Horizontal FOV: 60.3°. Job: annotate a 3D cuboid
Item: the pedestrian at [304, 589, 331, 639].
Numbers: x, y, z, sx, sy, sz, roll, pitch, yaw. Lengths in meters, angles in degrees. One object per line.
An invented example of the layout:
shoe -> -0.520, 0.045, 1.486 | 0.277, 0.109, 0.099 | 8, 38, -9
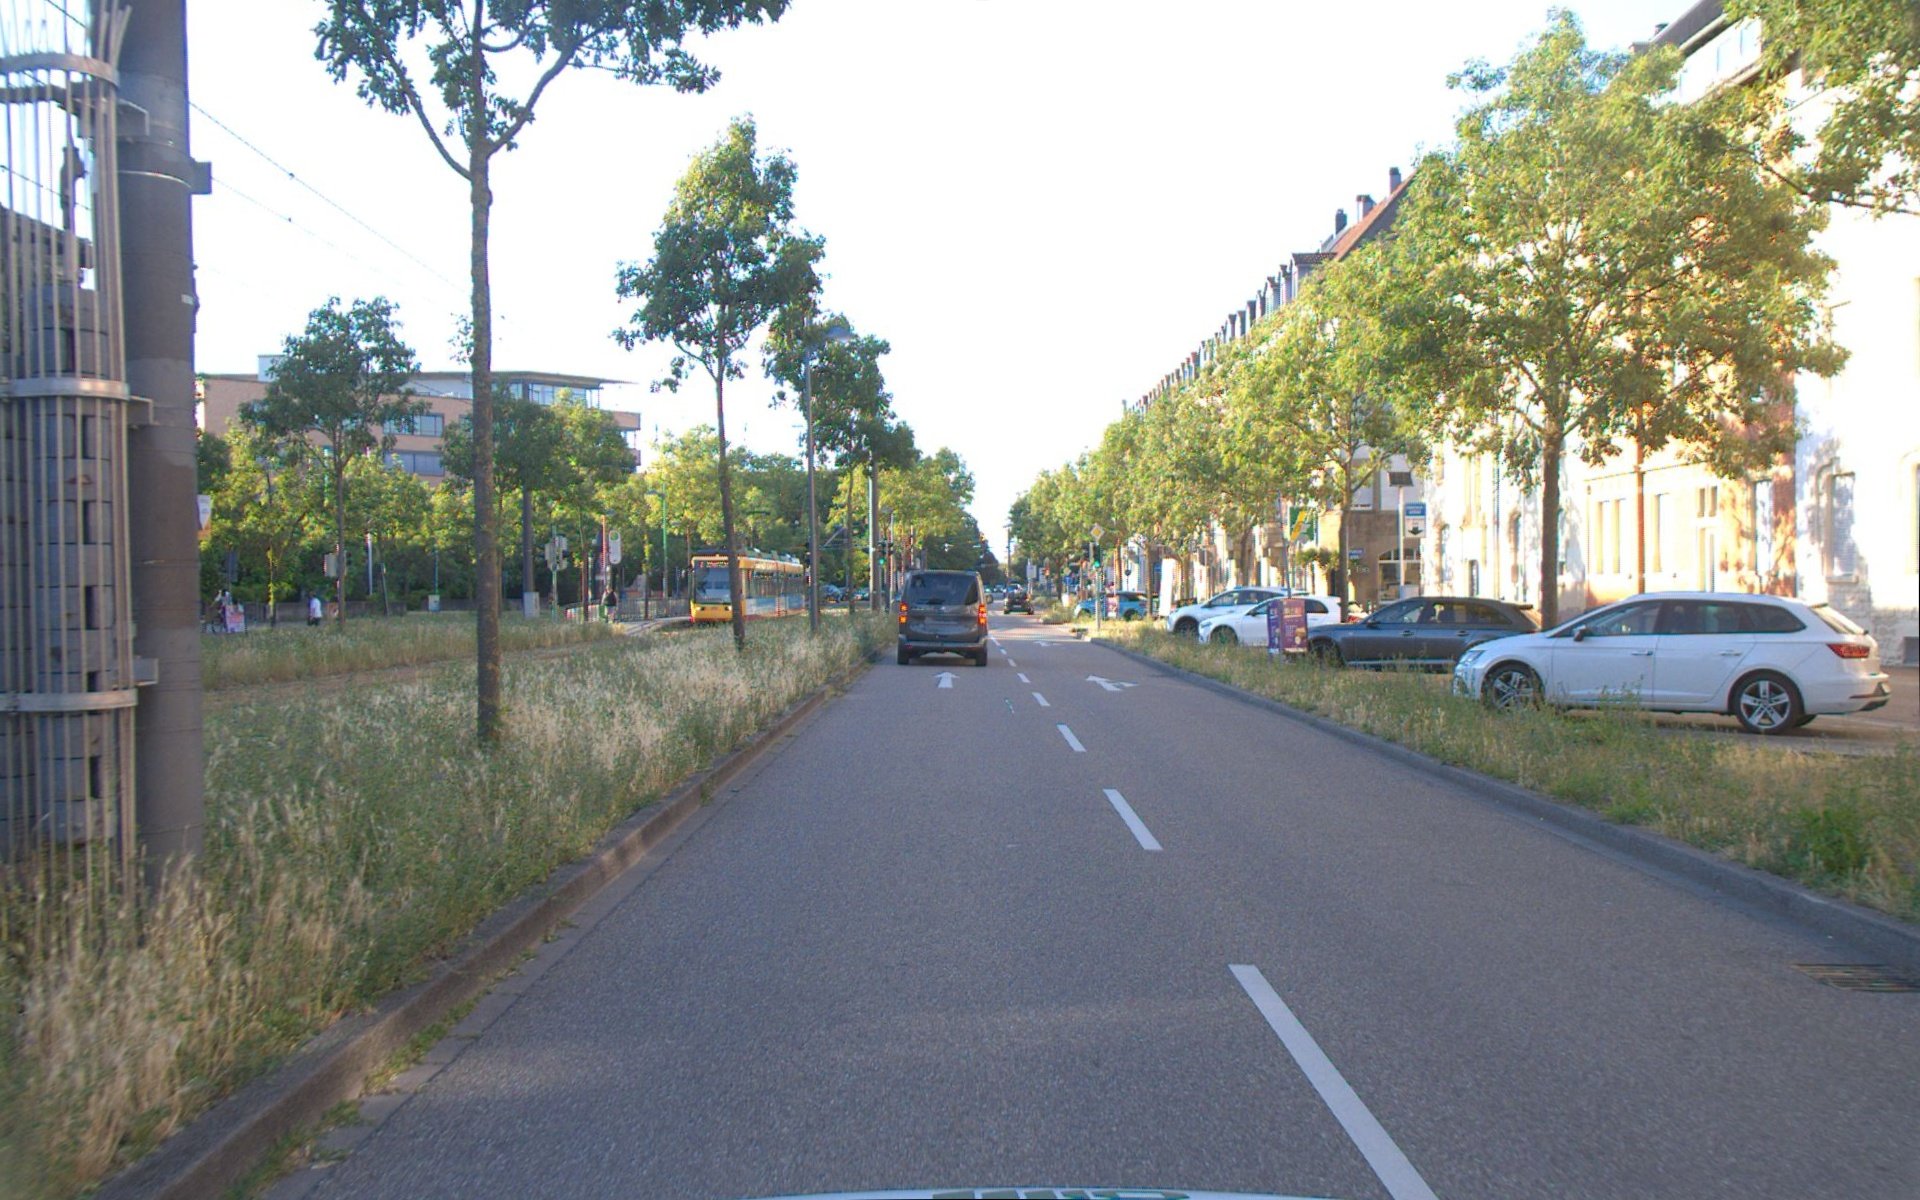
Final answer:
pedestrian -> -22.502, 0.481, 57.930 | 0.675, 1.727, 0.828 | -1, 0, -8

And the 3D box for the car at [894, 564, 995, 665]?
car -> -0.278, 0.271, 34.560 | 1.952, 1.934, 4.299 | 1, 0, 1

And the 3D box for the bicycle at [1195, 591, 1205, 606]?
bicycle -> 16.351, -0.130, 112.656 | 0.473, 1.023, 1.746 | 0, 0, 0

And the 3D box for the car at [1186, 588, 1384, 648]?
car -> 8.099, 0.441, 41.277 | 4.456, 1.424, 2.026 | 0, 0, 31

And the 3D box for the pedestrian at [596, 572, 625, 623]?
pedestrian -> -14.104, -0.109, 66.769 | 0.915, 2.049, 0.957 | 0, 0, 0

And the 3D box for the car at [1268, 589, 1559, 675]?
car -> 7.744, 0.512, 28.379 | 4.487, 1.371, 1.891 | 0, 0, 33

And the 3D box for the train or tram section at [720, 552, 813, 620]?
train or tram section -> -10.349, -0.738, 89.994 | 3.360, 3.398, 13.857 | 0, 0, 0

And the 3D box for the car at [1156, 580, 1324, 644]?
car -> 7.984, 0.310, 47.299 | 4.343, 1.721, 1.909 | 0, 1, 35

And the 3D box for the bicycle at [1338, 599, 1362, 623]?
bicycle -> 15.443, 0.452, 65.519 | 0.451, 0.887, 1.884 | -6, -1, 0

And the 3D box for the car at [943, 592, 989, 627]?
car -> 0.263, 0.415, 77.465 | 1.953, 1.537, 3.998 | 1, 1, -3

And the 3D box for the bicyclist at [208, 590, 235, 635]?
bicyclist -> -28.390, 0.469, 63.582 | 0.681, 1.703, 0.825 | 0, 0, 0

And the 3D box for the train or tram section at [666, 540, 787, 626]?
train or tram section -> -10.383, -0.733, 75.469 | 3.360, 3.490, 15.027 | 0, 0, 0

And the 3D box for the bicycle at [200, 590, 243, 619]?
bicycle -> -28.397, 0.172, 63.605 | 0.695, 1.070, 2.094 | 0, 0, 0

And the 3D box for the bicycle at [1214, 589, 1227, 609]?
bicycle -> 16.380, -0.079, 104.133 | 0.473, 1.185, 1.746 | -6, 0, 0

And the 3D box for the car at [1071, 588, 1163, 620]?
car -> 7.766, 0.168, 81.917 | 4.197, 1.548, 1.842 | 0, 1, 33

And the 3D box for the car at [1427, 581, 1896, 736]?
car -> 7.752, 0.574, 18.477 | 4.553, 1.536, 1.841 | 0, 0, 36

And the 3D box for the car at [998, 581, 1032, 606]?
car -> 3.405, -0.419, 103.081 | 1.953, 1.537, 4.000 | 1, 1, 0
